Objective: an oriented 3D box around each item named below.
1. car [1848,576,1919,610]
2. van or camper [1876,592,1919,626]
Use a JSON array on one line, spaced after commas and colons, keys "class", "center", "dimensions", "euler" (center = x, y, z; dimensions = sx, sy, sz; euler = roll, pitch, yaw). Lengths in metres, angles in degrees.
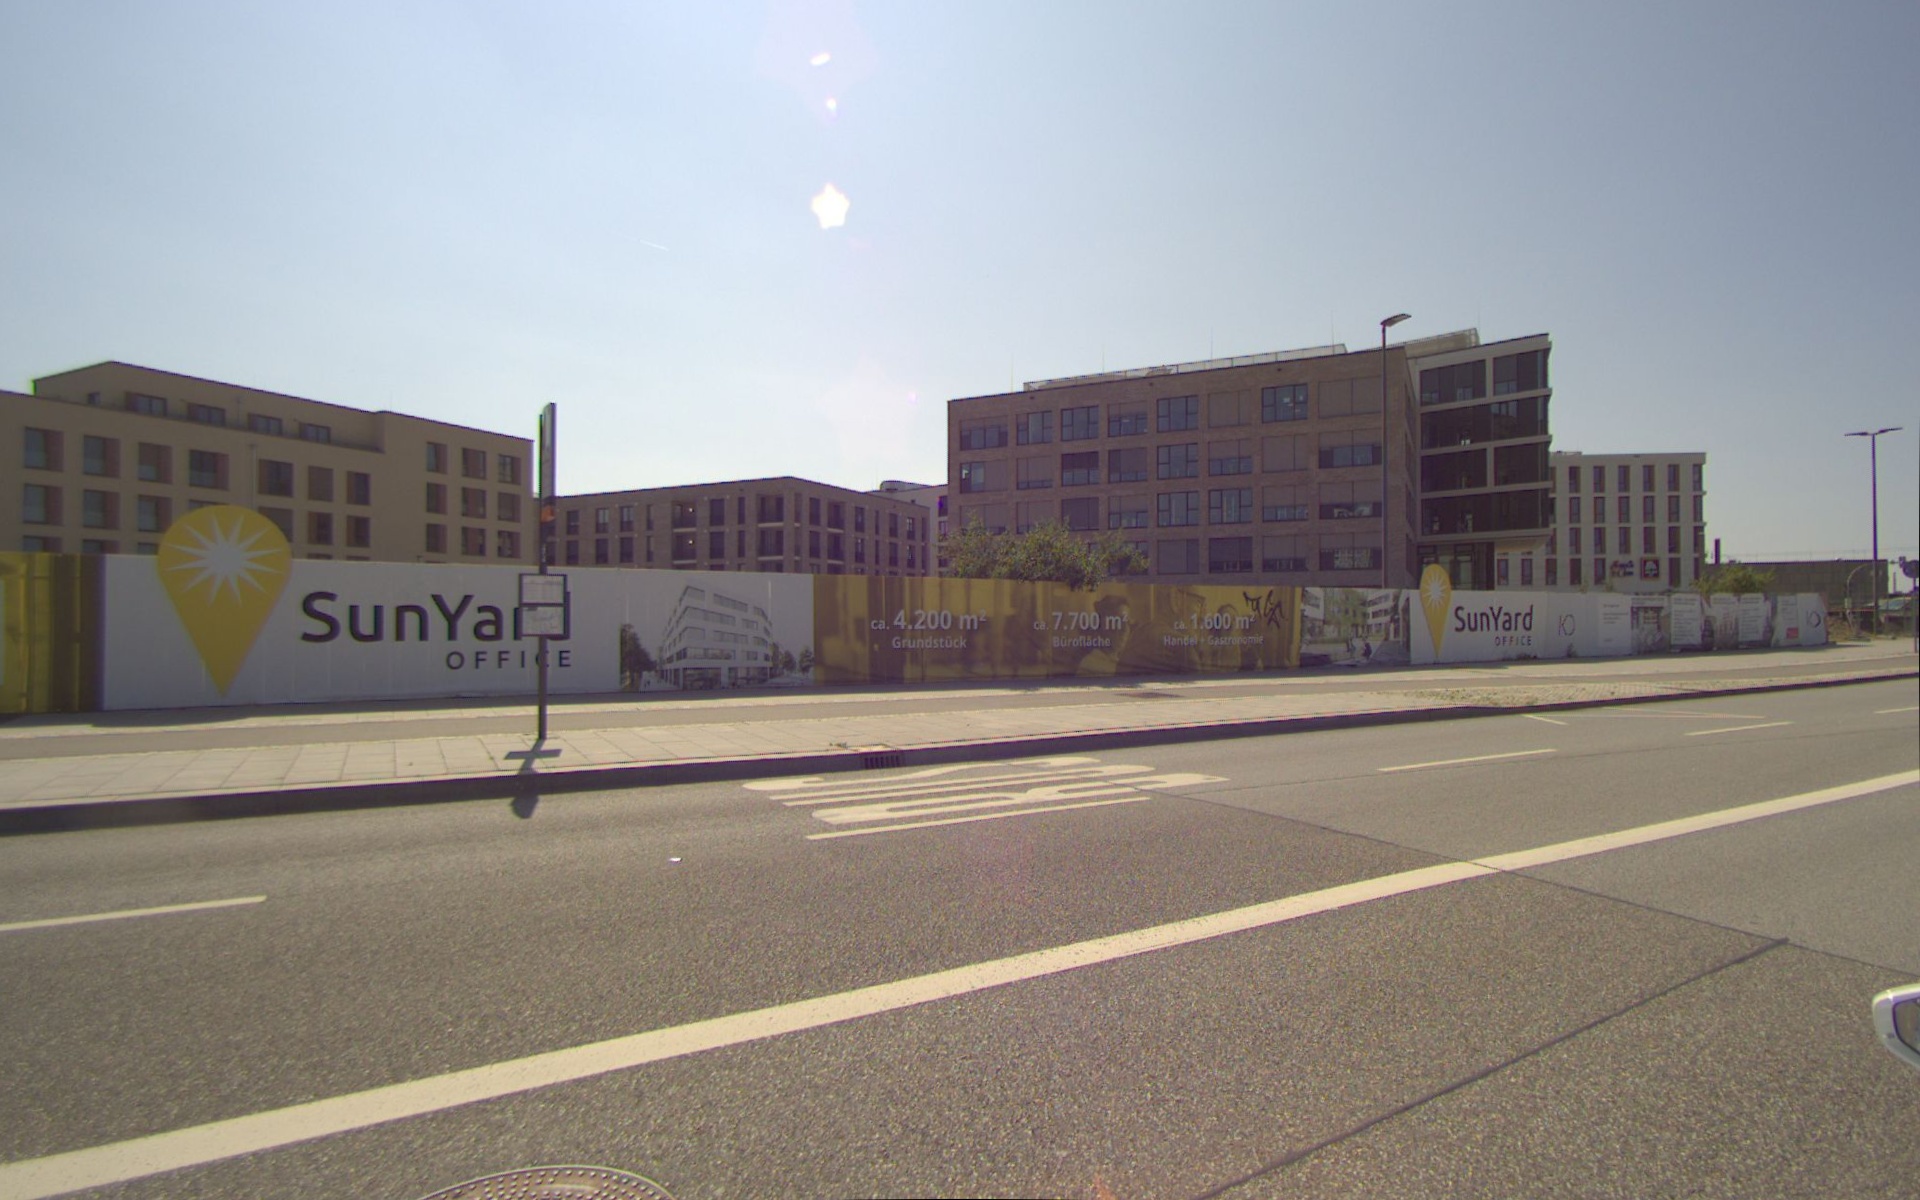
[{"class": "car", "center": [57.935, -0.428, 62.190], "dimensions": [3.919, 2.040, 2.001], "euler": [0, 0, 9]}, {"class": "van or camper", "center": [56.947, 0.589, 58.716], "dimensions": [4.622, 1.922, 2.001], "euler": [2, 0, 13]}]
